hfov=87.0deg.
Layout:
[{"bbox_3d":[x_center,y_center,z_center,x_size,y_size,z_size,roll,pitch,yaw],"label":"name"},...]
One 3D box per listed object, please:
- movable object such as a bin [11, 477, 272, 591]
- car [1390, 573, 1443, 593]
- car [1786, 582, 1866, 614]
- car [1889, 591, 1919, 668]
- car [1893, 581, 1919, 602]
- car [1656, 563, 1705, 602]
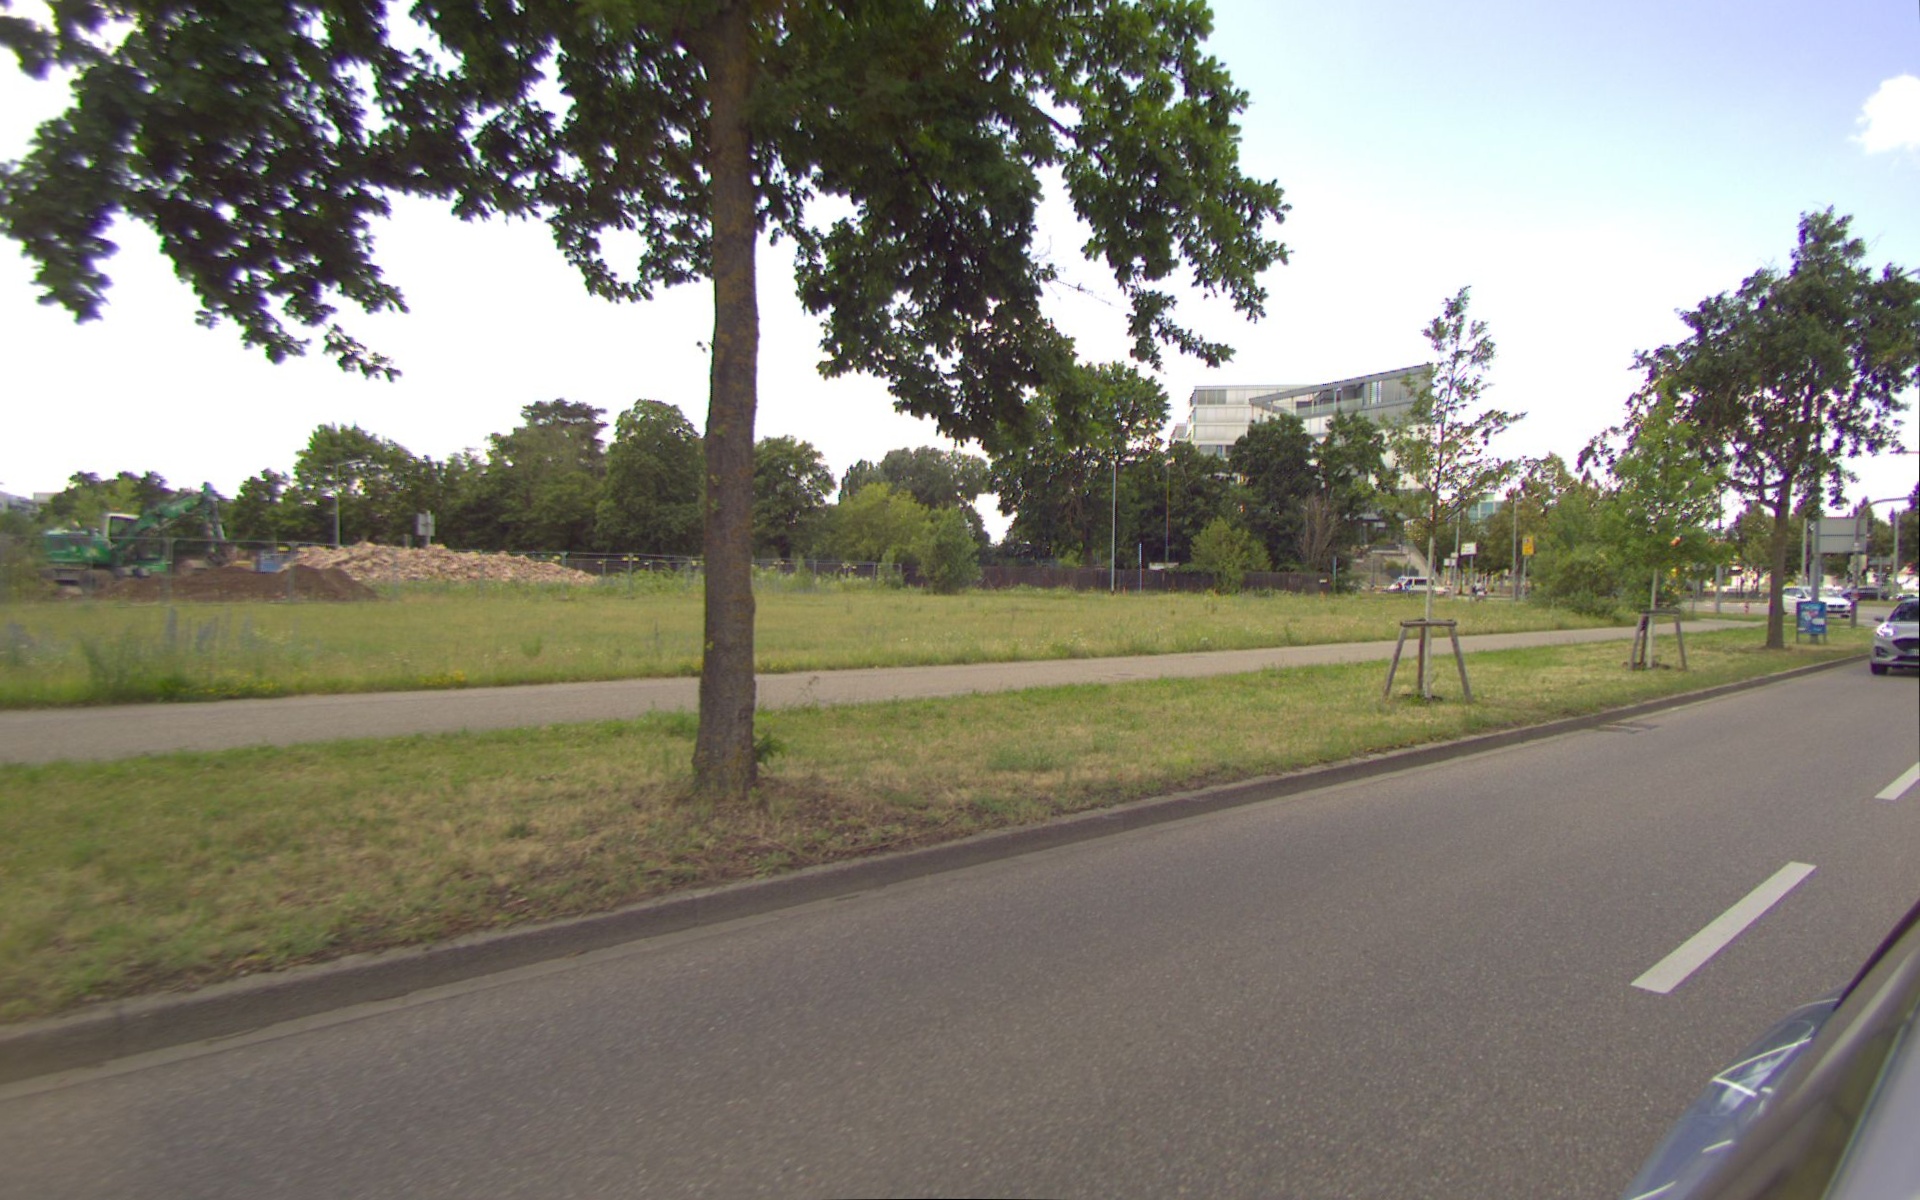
[{"bbox_3d":[-30.562,-2.403,37.993,7.478,3.900,3.047,-1,1,4],"label":"movable object such as a bin"},{"bbox_3d":[50.676,-1.835,112.467,5.044,2.174,2.153,0,1,-11],"label":"car"},{"bbox_3d":[44.961,-0.134,52.648,1.652,1.619,4.105,-1,1,17],"label":"car"},{"bbox_3d":[20.188,0.559,20.386,4.020,1.489,1.673,0,1,-40],"label":"car"},{"bbox_3d":[98.784,-0.864,103.926,1.966,2.038,4.718,1,2,7],"label":"car"},{"bbox_3d":[57.236,-1.389,80.503,2.266,2.889,7.181,2,1,29],"label":"car"}]
